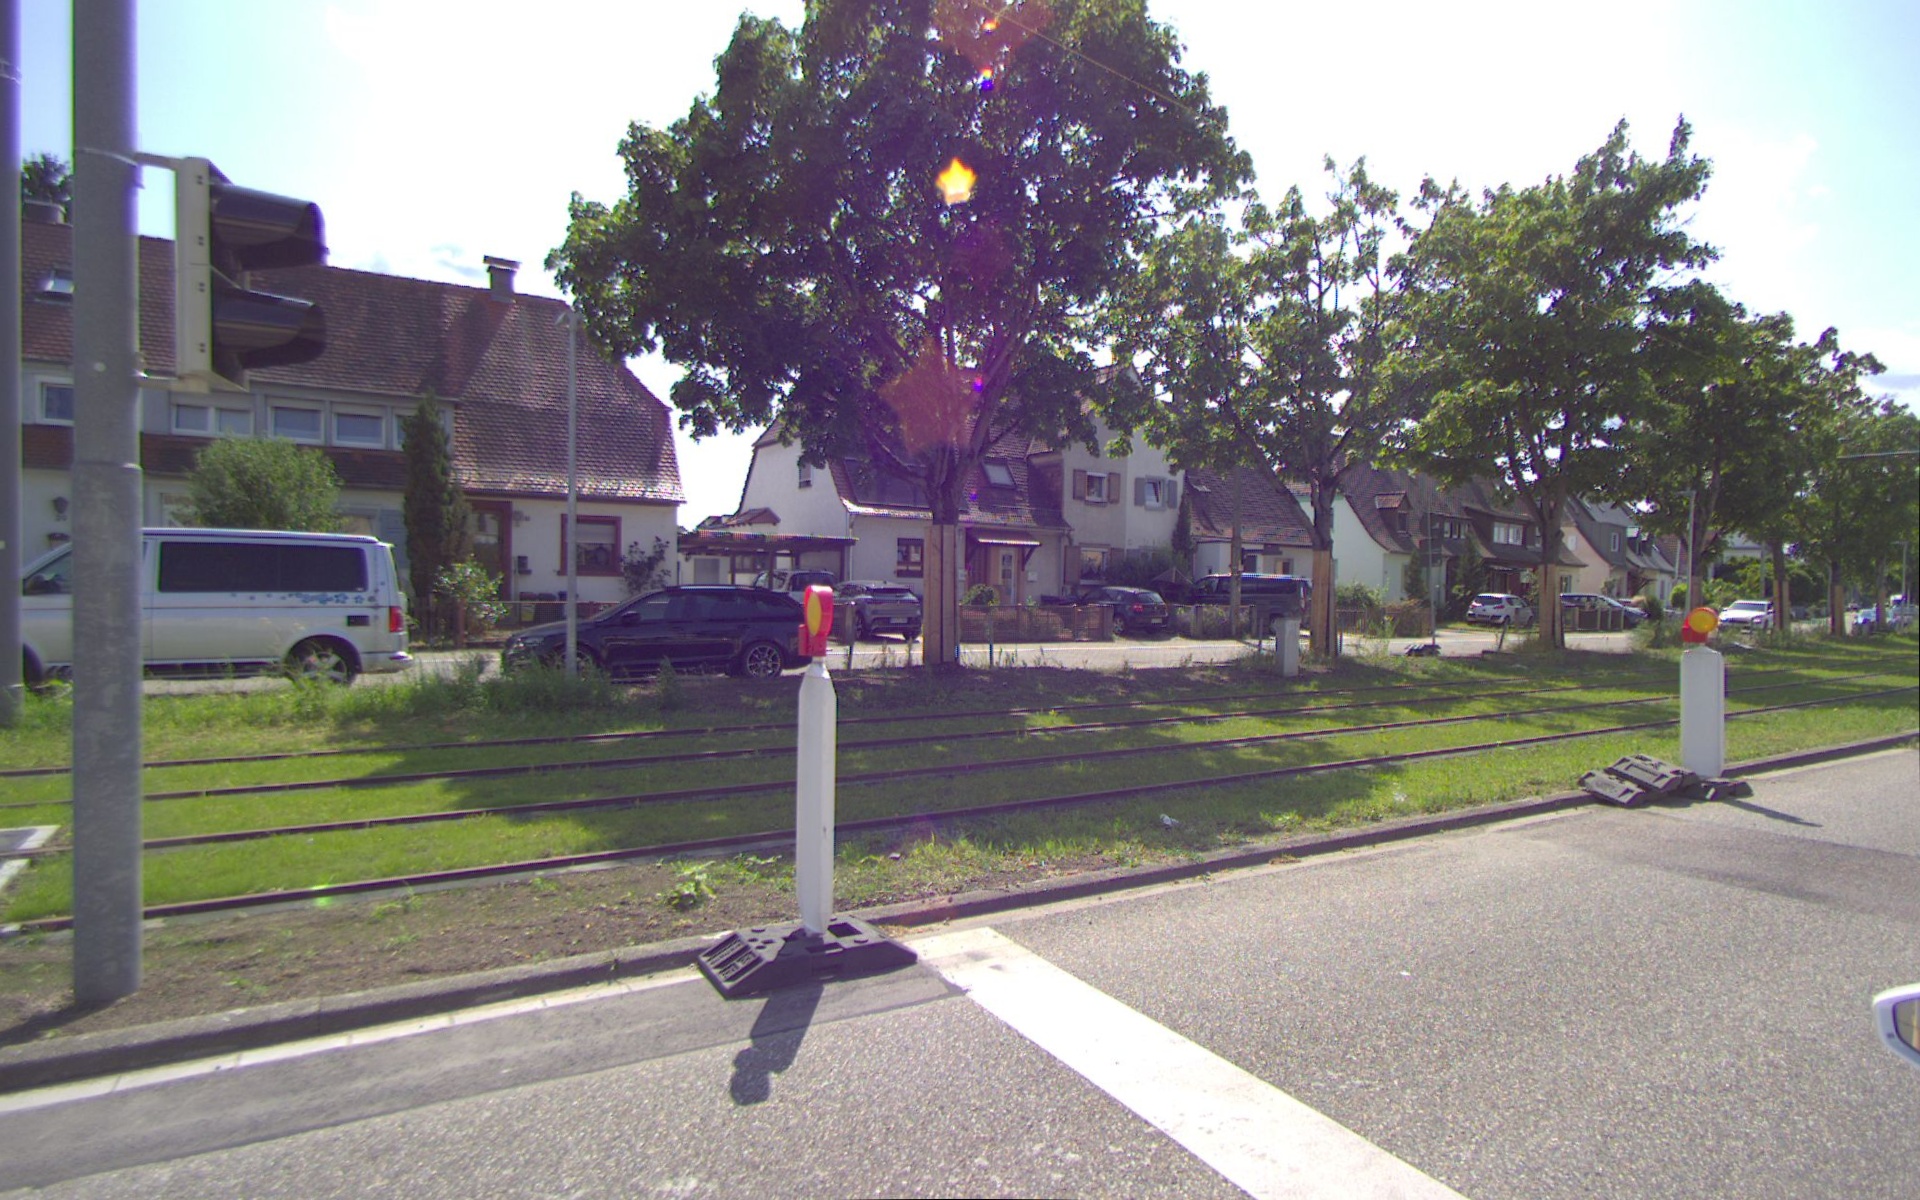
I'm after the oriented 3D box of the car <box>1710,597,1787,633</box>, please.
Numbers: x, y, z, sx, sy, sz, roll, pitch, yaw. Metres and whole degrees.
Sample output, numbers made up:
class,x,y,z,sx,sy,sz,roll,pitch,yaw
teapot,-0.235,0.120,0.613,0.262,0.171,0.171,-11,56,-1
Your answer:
class,x,y,z,sx,sy,sz,roll,pitch,yaw
car,41.127,0.782,52.336,5.034,1.792,1.868,1,1,-36

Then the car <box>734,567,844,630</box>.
class,x,y,z,sx,sy,sz,roll,pitch,yaw
car,-5.298,-0.087,30.790,1.781,1.761,3.959,0,2,-35

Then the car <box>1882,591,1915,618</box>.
class,x,y,z,sx,sy,sz,roll,pitch,yaw
car,99.712,0.517,106.809,2.049,2.757,6.970,0,0,39

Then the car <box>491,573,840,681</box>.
class,x,y,z,sx,sy,sz,roll,pitch,yaw
car,-4.359,0.367,15.004,4.746,1.406,1.845,1,1,-27

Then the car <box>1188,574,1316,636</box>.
class,x,y,z,sx,sy,sz,roll,pitch,yaw
car,10.287,0.127,35.461,3.832,1.922,1.936,4,2,35

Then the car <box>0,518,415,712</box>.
class,x,y,z,sx,sy,sz,roll,pitch,yaw
car,-9.397,0.155,12.166,4.847,2.041,1.983,1,1,-31

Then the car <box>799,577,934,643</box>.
class,x,y,z,sx,sy,sz,roll,pitch,yaw
car,-2.571,0.209,26.892,1.855,1.551,3.960,1,2,-35

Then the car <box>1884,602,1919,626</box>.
class,x,y,z,sx,sy,sz,roll,pitch,yaw
car,66.124,0.953,70.448,1.792,1.608,4.539,0,0,44

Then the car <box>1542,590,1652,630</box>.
class,x,y,z,sx,sy,sz,roll,pitch,yaw
car,33.216,0.491,52.425,2.049,1.861,4.430,0,1,-41

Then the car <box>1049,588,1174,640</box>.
class,x,y,z,sx,sy,sz,roll,pitch,yaw
car,4.700,0.393,31.612,1.718,1.476,3.857,1,1,-35

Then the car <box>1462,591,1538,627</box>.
class,x,y,z,sx,sy,sz,roll,pitch,yaw
car,24.656,0.416,45.843,4.011,1.538,1.713,1,1,-41

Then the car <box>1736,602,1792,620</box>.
class,x,y,z,sx,sy,sz,roll,pitch,yaw
car,72.797,0.973,90.968,3.941,1.592,1.785,1,1,41
